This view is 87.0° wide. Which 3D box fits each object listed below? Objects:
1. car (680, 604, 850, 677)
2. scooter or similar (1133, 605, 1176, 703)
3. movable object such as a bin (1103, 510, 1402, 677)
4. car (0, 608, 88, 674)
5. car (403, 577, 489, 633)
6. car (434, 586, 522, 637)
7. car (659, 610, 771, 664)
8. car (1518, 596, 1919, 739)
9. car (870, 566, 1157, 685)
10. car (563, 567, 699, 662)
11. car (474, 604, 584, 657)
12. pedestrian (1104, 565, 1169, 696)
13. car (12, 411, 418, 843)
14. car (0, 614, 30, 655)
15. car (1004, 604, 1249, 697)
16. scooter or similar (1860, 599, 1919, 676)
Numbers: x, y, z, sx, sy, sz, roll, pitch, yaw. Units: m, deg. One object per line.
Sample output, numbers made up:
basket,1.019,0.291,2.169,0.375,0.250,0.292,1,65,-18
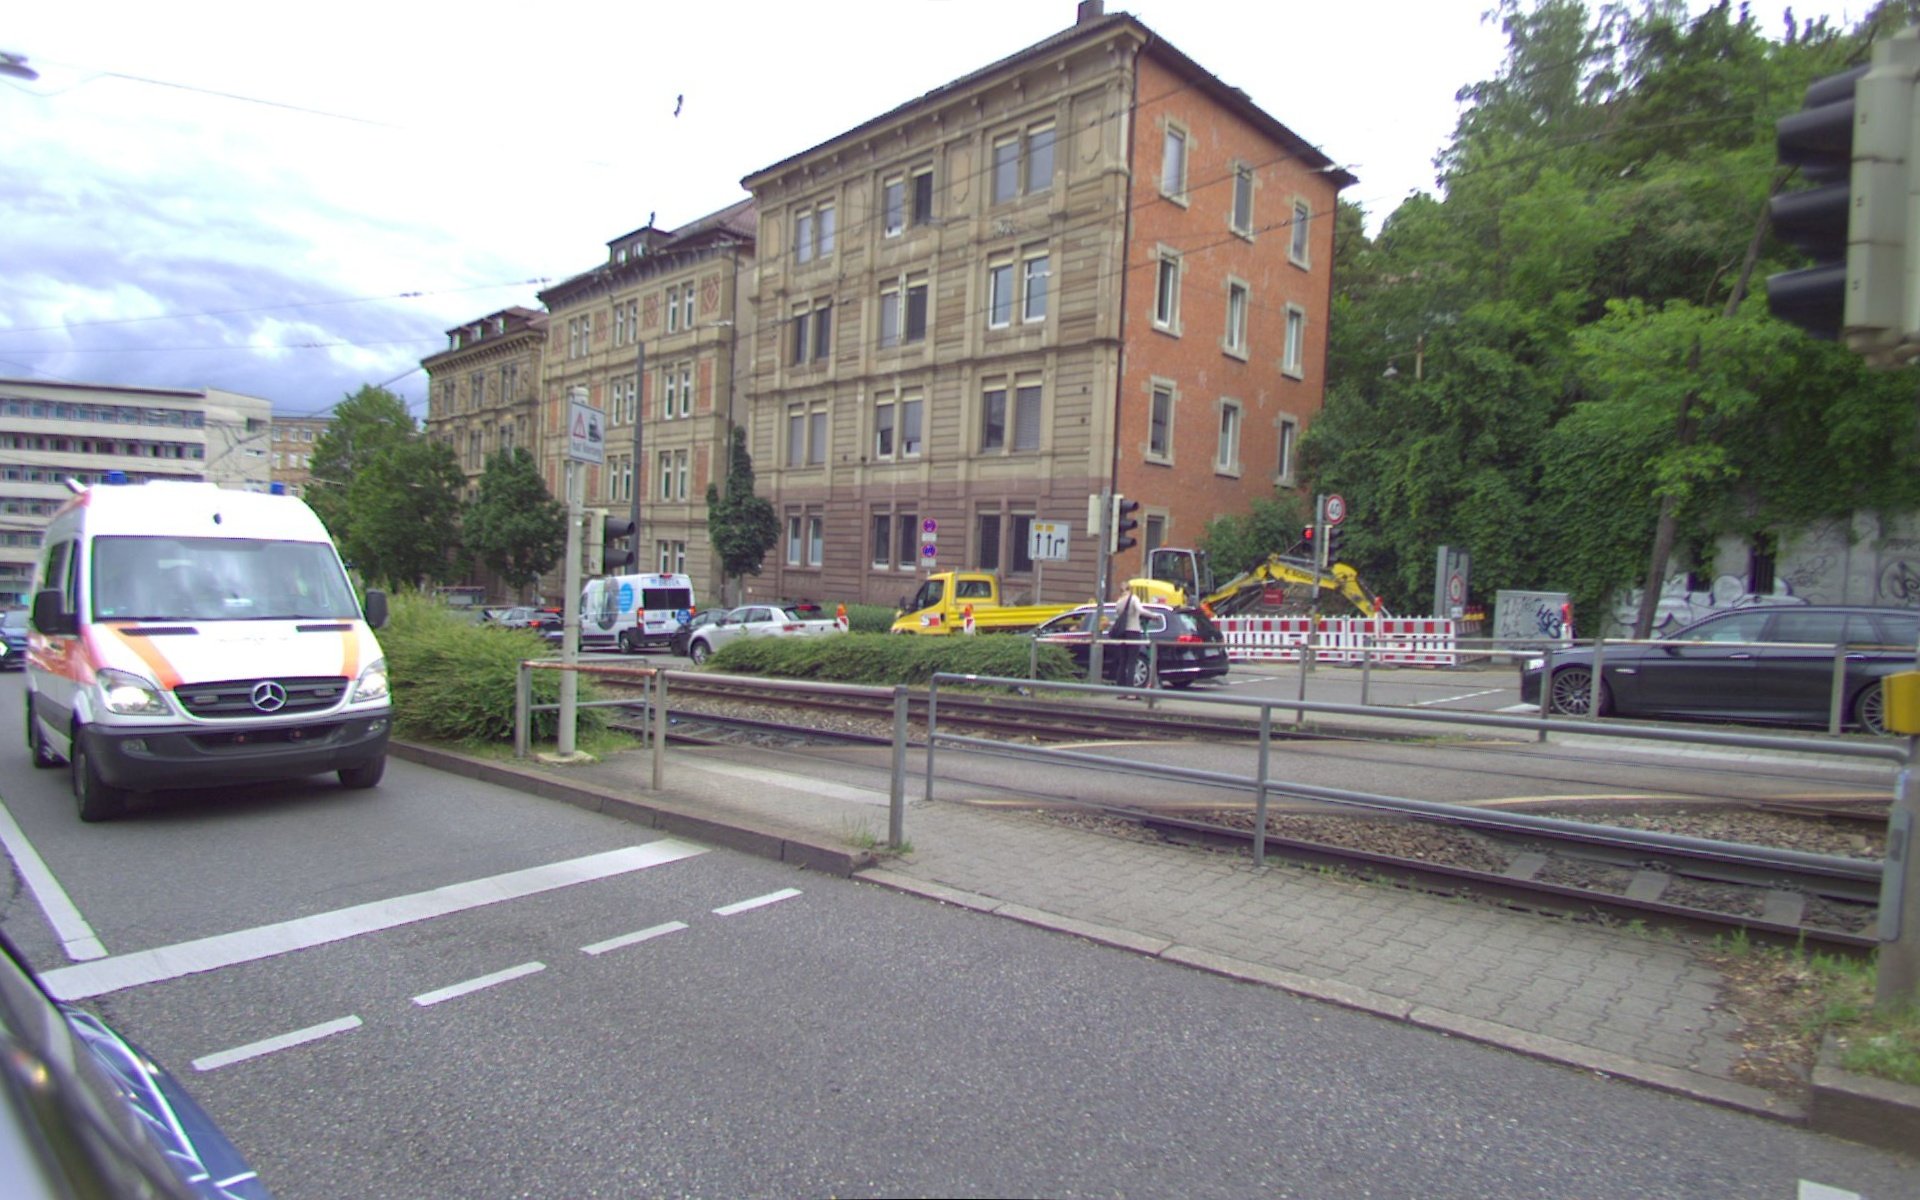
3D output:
car,-4.620,0.902,23.786,3.993,1.579,1.687,-1,-1,37
scooter or similar,2.764,0.741,14.329,0.528,1.306,1.491,0,-1,14
movable object such as a bin,7.026,-0.092,24.669,6.531,3.575,2.724,-1,-1,34
car,-24.534,1.042,26.837,1.903,1.584,4.184,-2,1,-44
car,-22.247,0.250,43.755,2.210,2.305,4.003,1,-2,-44
car,-19.629,0.489,41.173,2.288,1.954,3.439,1,-2,-44
car,-7.140,1.035,29.285,1.625,1.465,3.569,0,-1,-43
car,9.483,0.729,11.852,4.847,1.446,1.860,0,-3,45
car,1.087,0.536,23.942,6.750,2.454,2.415,0,0,41
car,-10.729,0.479,32.856,4.785,2.844,2.184,-1,-2,43
car,-13.478,0.920,31.571,1.845,1.531,3.952,1,-2,-44
pedestrian,2.559,0.443,14.644,0.788,1.831,0.736,0,-2,22
car,-6.992,0.199,9.147,5.856,2.720,2.011,-1,-1,44
car,-37.556,1.319,39.381,1.969,1.564,4.322,1,-2,-42
car,2.876,0.831,17.970,3.999,1.473,1.760,-1,-1,42
scooter or similar,16.293,0.646,17.289,1.289,1.299,0.423,-1,-2,34
